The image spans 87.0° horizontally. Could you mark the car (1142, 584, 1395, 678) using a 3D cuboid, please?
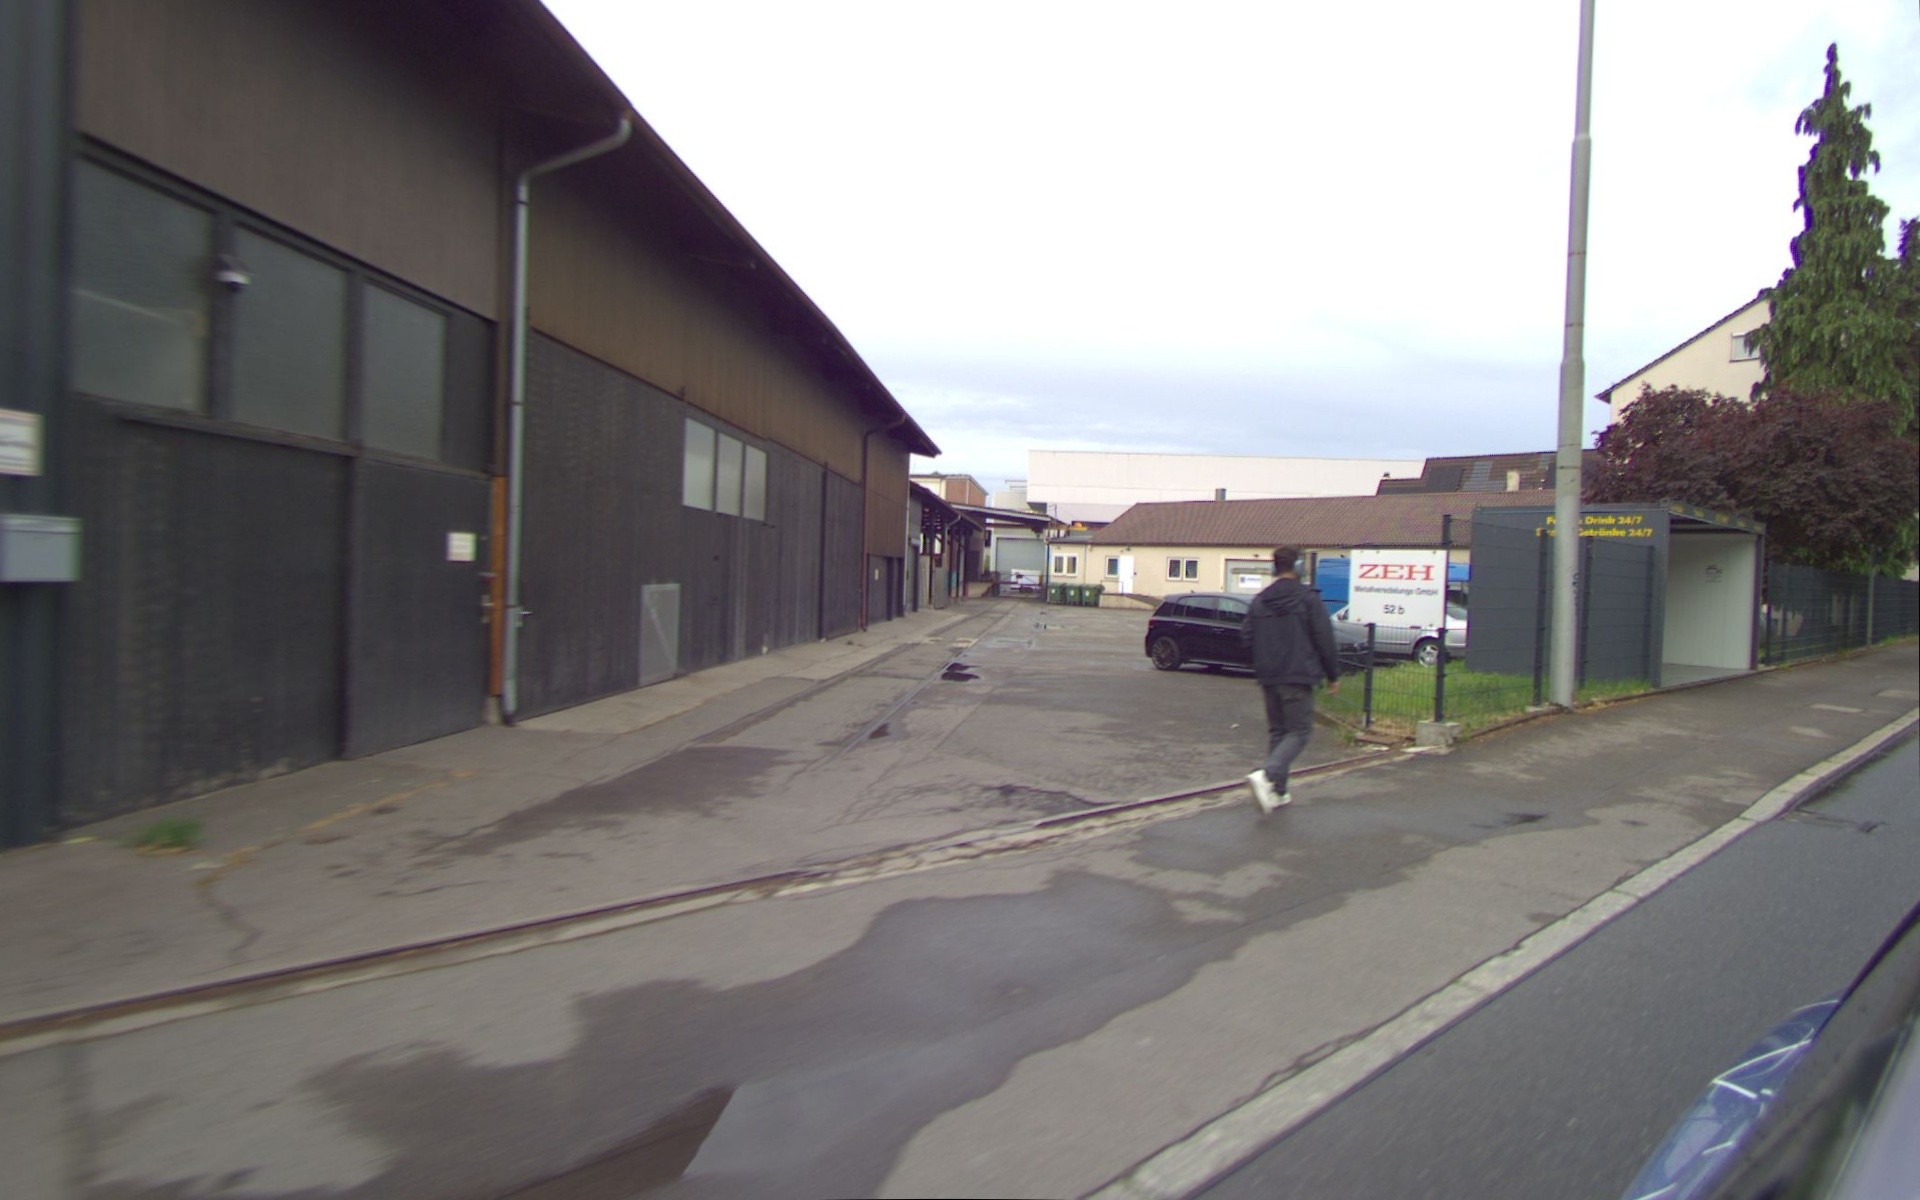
[{"bbox_3d":[5.351,0.450,17.955,1.753,1.441,3.996,-2,2,-39],"label":"car"}]

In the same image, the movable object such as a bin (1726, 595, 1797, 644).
[{"bbox_3d":[23.349,0.541,29.461,1.370,1.336,2.814,1,0,44],"label":"movable object such as a bin"}]

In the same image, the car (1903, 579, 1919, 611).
[{"bbox_3d":[56.644,-0.287,57.492,1.965,1.790,4.311,-2,2,-40],"label":"car"}]

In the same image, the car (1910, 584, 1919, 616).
[{"bbox_3d":[54.924,-0.001,55.493,1.760,1.746,3.956,-1,1,-40],"label":"car"}]

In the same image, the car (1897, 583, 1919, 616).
[{"bbox_3d":[52.918,-0.022,54.041,1.837,1.758,4.074,-2,2,-40],"label":"car"}]

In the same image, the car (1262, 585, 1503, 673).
[{"bbox_3d":[8.825,0.520,21.433,1.763,1.549,4.386,-1,3,-42],"label":"car"}]

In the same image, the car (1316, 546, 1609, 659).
[{"bbox_3d":[11.129,-0.041,22.826,1.966,2.238,5.576,1,2,-42],"label":"car"}]

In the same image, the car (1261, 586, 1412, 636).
[{"bbox_3d":[12.450,0.314,33.641,1.771,1.441,4.358,0,2,-45],"label":"car"}]

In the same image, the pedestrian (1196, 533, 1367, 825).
[{"bbox_3d":[2.087,0.454,6.550,0.742,1.725,0.887,0,1,44],"label":"pedestrian"}]
